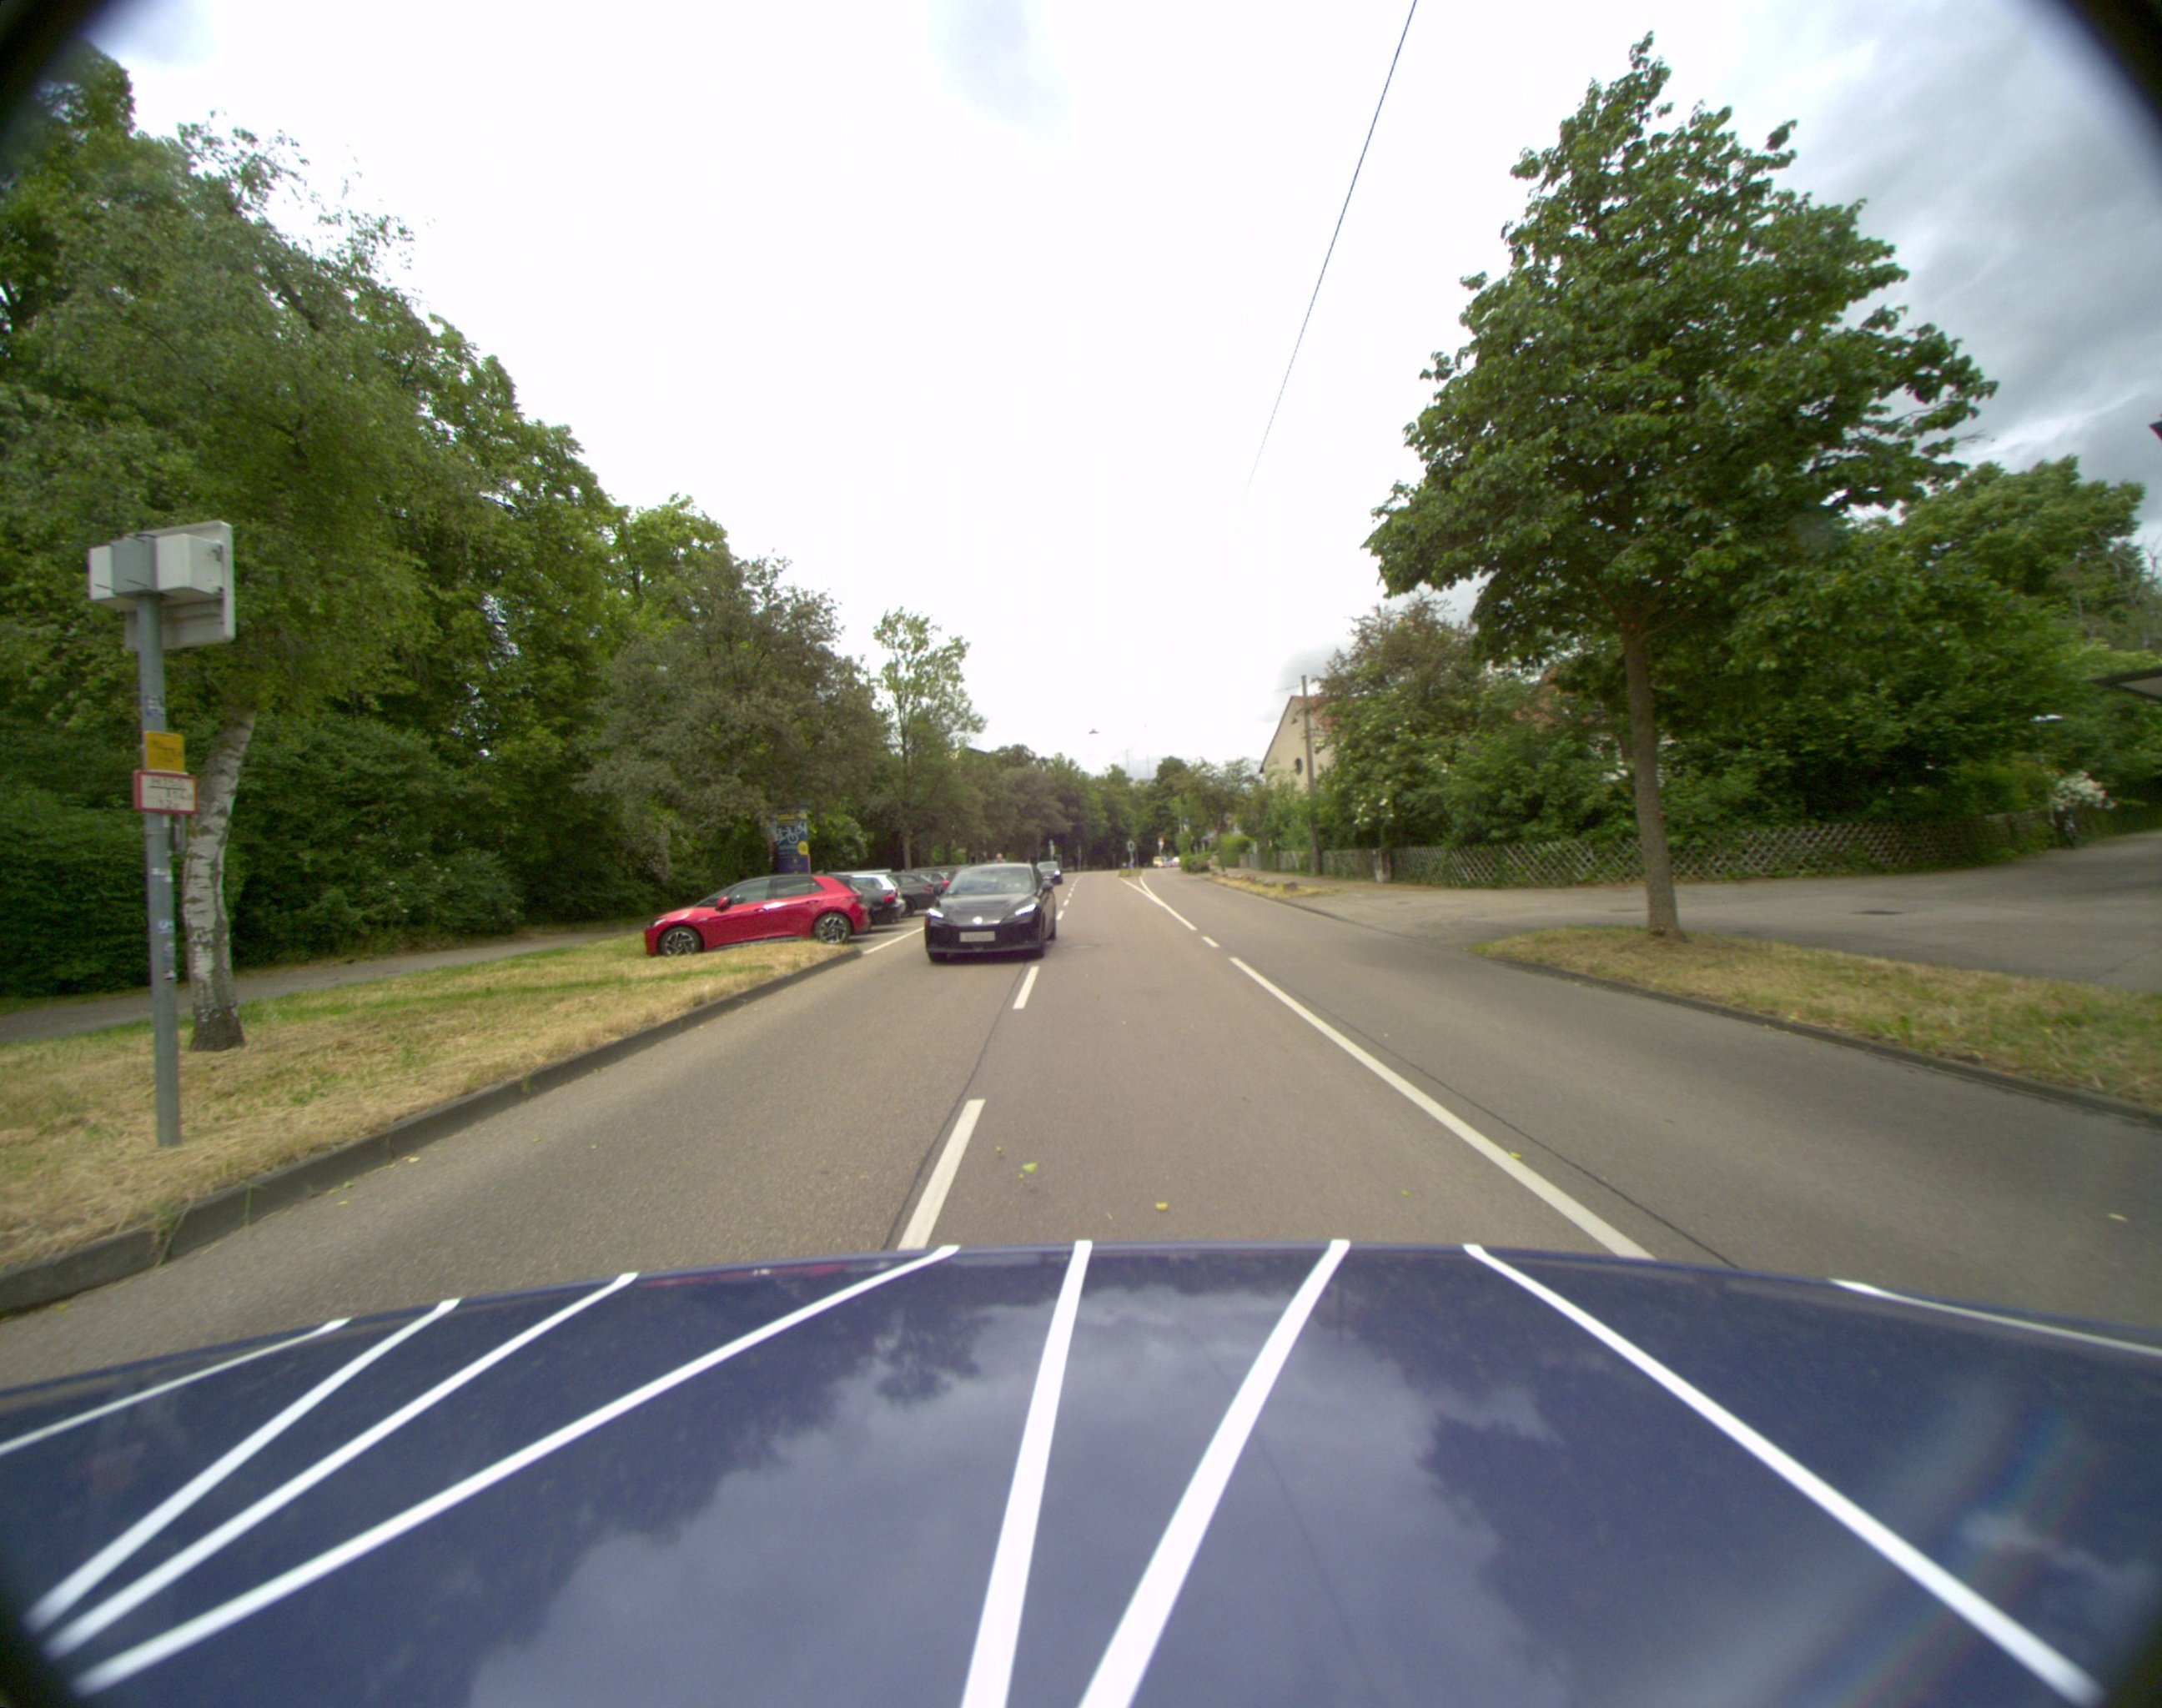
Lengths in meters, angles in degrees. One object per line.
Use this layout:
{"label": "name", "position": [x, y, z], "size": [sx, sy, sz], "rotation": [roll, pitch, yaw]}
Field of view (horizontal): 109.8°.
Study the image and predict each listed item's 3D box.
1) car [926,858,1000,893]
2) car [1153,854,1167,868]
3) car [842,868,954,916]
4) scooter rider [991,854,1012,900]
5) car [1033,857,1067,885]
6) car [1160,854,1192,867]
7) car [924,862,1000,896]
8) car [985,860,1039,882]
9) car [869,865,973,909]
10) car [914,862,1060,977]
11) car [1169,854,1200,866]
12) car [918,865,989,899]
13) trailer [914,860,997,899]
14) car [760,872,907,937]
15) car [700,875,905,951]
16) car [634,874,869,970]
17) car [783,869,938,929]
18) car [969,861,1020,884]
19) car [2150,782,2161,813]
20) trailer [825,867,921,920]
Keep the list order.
{"label": "car", "position": [-6.798, 1.210, 43.729], "size": [3.999, 1.715, 1.679], "rotation": [-4, 1, -10]}
{"label": "car", "position": [11.897, 1.025, 114.928], "size": [1.920, 1.977, 4.802], "rotation": [-3, -1, 5]}
{"label": "car", "position": [-6.714, 1.380, 28.243], "size": [3.853, 1.446, 1.633], "rotation": [-4, 0, -10]}
{"label": "scooter rider", "position": [-3.105, 0.890, 29.779], "size": [0.683, 1.720, 1.196], "rotation": [-4, 0, -4]}
{"label": "car", "position": [-1.927, 1.039, 47.639], "size": [1.814, 1.520, 4.000], "rotation": [-3, 0, 1]}
{"label": "car", "position": [13.336, 0.951, 106.819], "size": [4.175, 1.537, 1.846], "rotation": [-3, -2, 0]}
{"label": "car", "position": [-6.438, 1.342, 41.285], "size": [3.831, 1.520, 1.605], "rotation": [-4, 1, -3]}
{"label": "car", "position": [-5.559, 1.352, 61.358], "size": [4.149, 1.467, 1.575], "rotation": [-4, 0, -11]}
{"label": "car", "position": [-6.472, 1.303, 30.949], "size": [3.925, 1.478, 1.616], "rotation": [-4, 0, -11]}
{"label": "car", "position": [-1.421, 0.964, 13.086], "size": [1.804, 1.541, 4.299], "rotation": [-3, 0, 1]}
{"label": "car", "position": [14.192, 0.801, 104.318], "size": [3.904, 1.463, 1.845], "rotation": [-3, -2, -7]}
{"label": "car", "position": [-6.512, 1.398, 38.835], "size": [3.436, 1.437, 1.558], "rotation": [-4, 1, -11]}
{"label": "trailer", "position": [-5.997, 1.219, 36.295], "size": [3.700, 1.526, 1.645], "rotation": [-4, 0, -10]}
{"label": "car", "position": [-6.739, 1.341, 20.989], "size": [3.623, 1.437, 1.632], "rotation": [-4, 0, -15]}
{"label": "car", "position": [-6.488, 1.347, 18.168], "size": [4.328, 1.333, 1.732], "rotation": [-4, 0, -13]}
{"label": "car", "position": [-6.496, 1.288, 15.446], "size": [4.087, 1.506, 1.731], "rotation": [-3, 0, -17]}
{"label": "car", "position": [-6.754, 1.342, 23.486], "size": [4.361, 1.437, 1.632], "rotation": [-4, 0, -17]}
{"label": "car", "position": [-6.396, 1.356, 56.273], "size": [3.535, 1.467, 1.591], "rotation": [-4, 0, -11]}
{"label": "car", "position": [55.407, -2.895, 37.158], "size": [1.637, 1.499, 3.594], "rotation": [-3, 0, -36]}
{"label": "trailer", "position": [-7.067, 1.333, 26.052], "size": [2.996, 1.533, 1.302], "rotation": [-4, 0, -12]}
